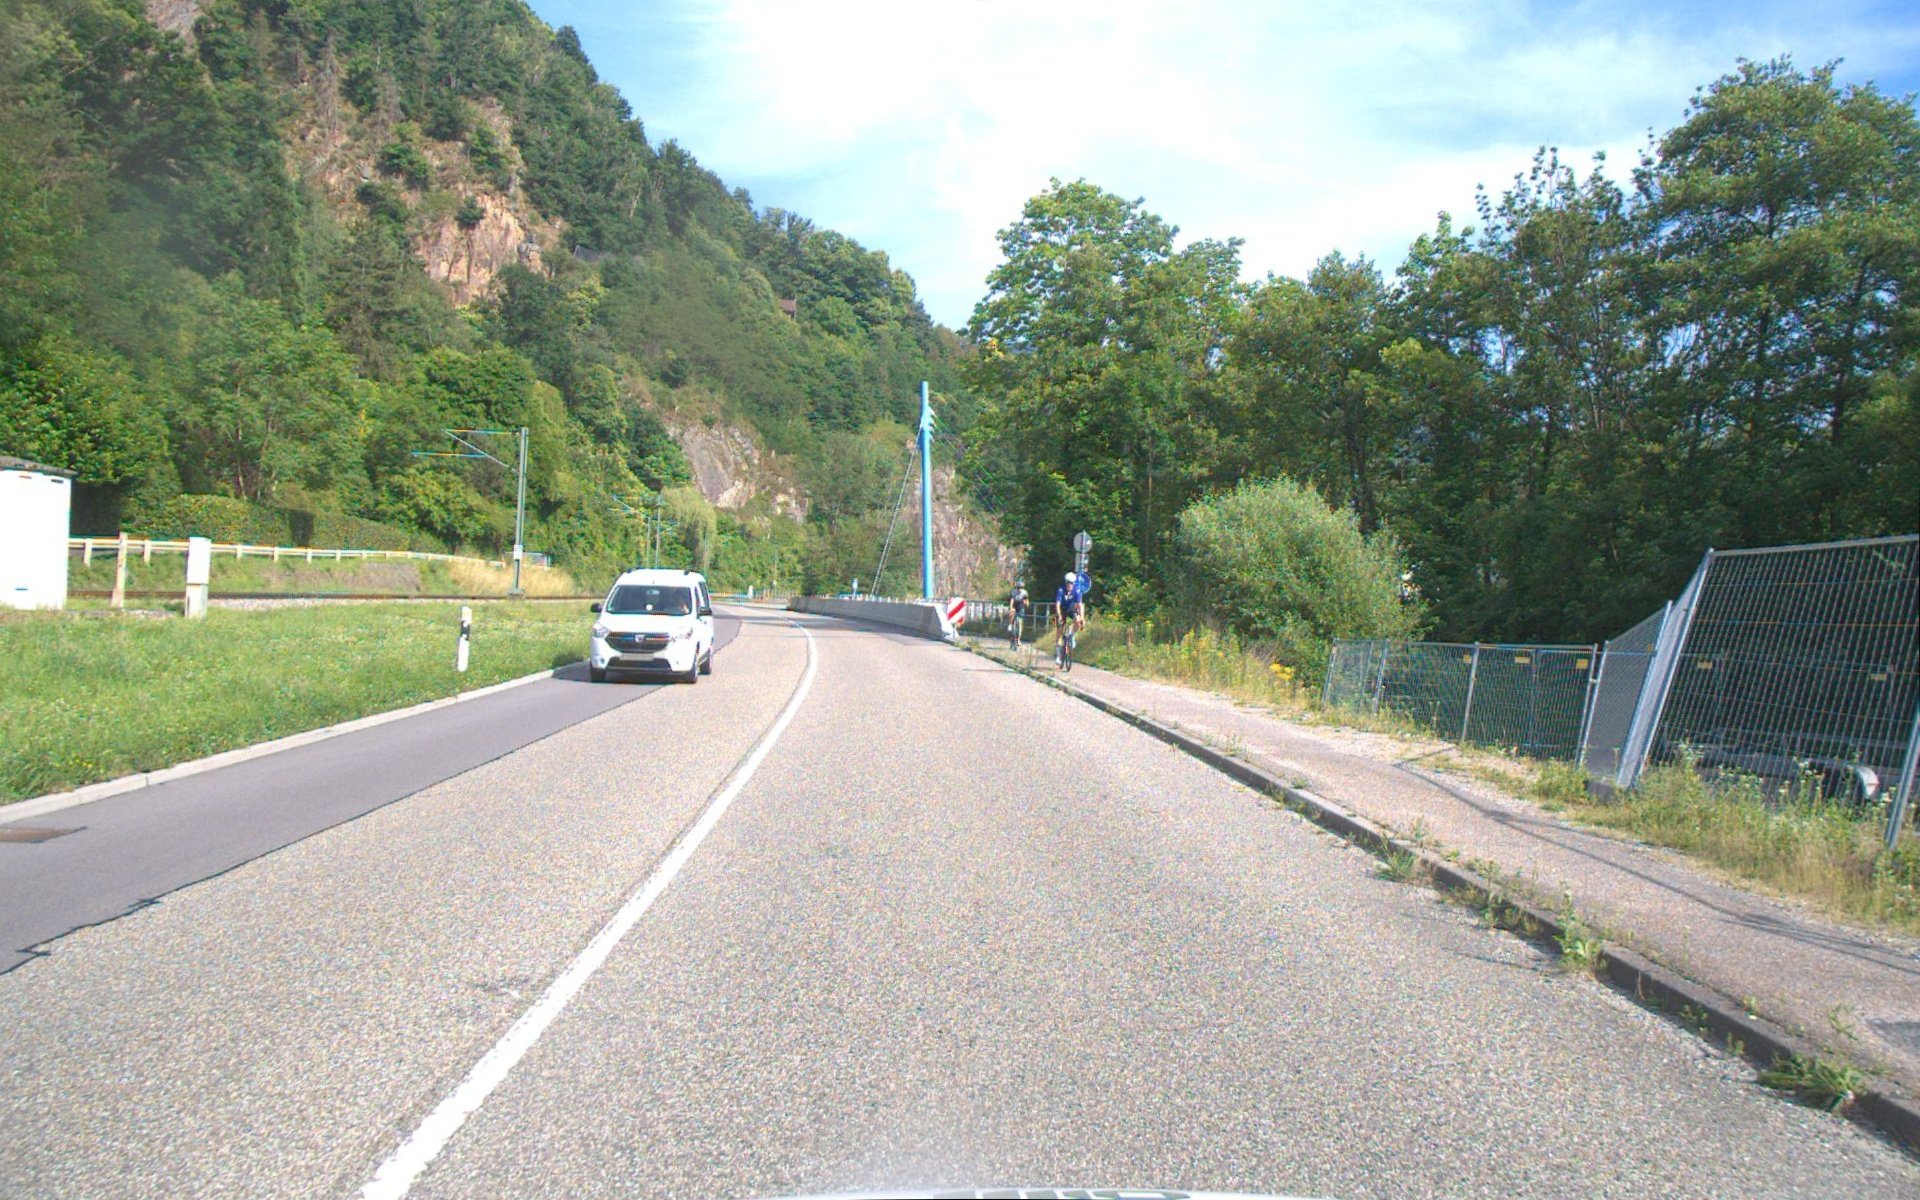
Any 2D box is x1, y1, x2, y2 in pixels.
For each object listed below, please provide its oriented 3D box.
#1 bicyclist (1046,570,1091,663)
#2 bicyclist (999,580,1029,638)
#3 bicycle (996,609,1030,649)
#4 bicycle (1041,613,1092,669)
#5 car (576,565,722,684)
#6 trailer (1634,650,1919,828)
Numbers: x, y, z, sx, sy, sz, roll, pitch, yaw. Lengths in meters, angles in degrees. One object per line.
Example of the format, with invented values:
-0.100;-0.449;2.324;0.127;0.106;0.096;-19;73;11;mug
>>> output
2.038;0.303;31.204;0.628;1.683;0.807;4;0;-5;bicyclist
1.376;0.230;41.973;0.581;1.425;0.761;4;0;-5;bicyclist
1.336;0.733;41.993;0.588;0.932;1.846;4;0;-5;bicycle
2.003;0.761;31.217;0.636;0.958;1.846;4;0;-5;bicycle
-5.122;0.353;27.785;1.833;1.812;4.596;1;0;-4;car
12.976;1.881;22.240;2.342;2.049;11.490;3;-1;-4;trailer
